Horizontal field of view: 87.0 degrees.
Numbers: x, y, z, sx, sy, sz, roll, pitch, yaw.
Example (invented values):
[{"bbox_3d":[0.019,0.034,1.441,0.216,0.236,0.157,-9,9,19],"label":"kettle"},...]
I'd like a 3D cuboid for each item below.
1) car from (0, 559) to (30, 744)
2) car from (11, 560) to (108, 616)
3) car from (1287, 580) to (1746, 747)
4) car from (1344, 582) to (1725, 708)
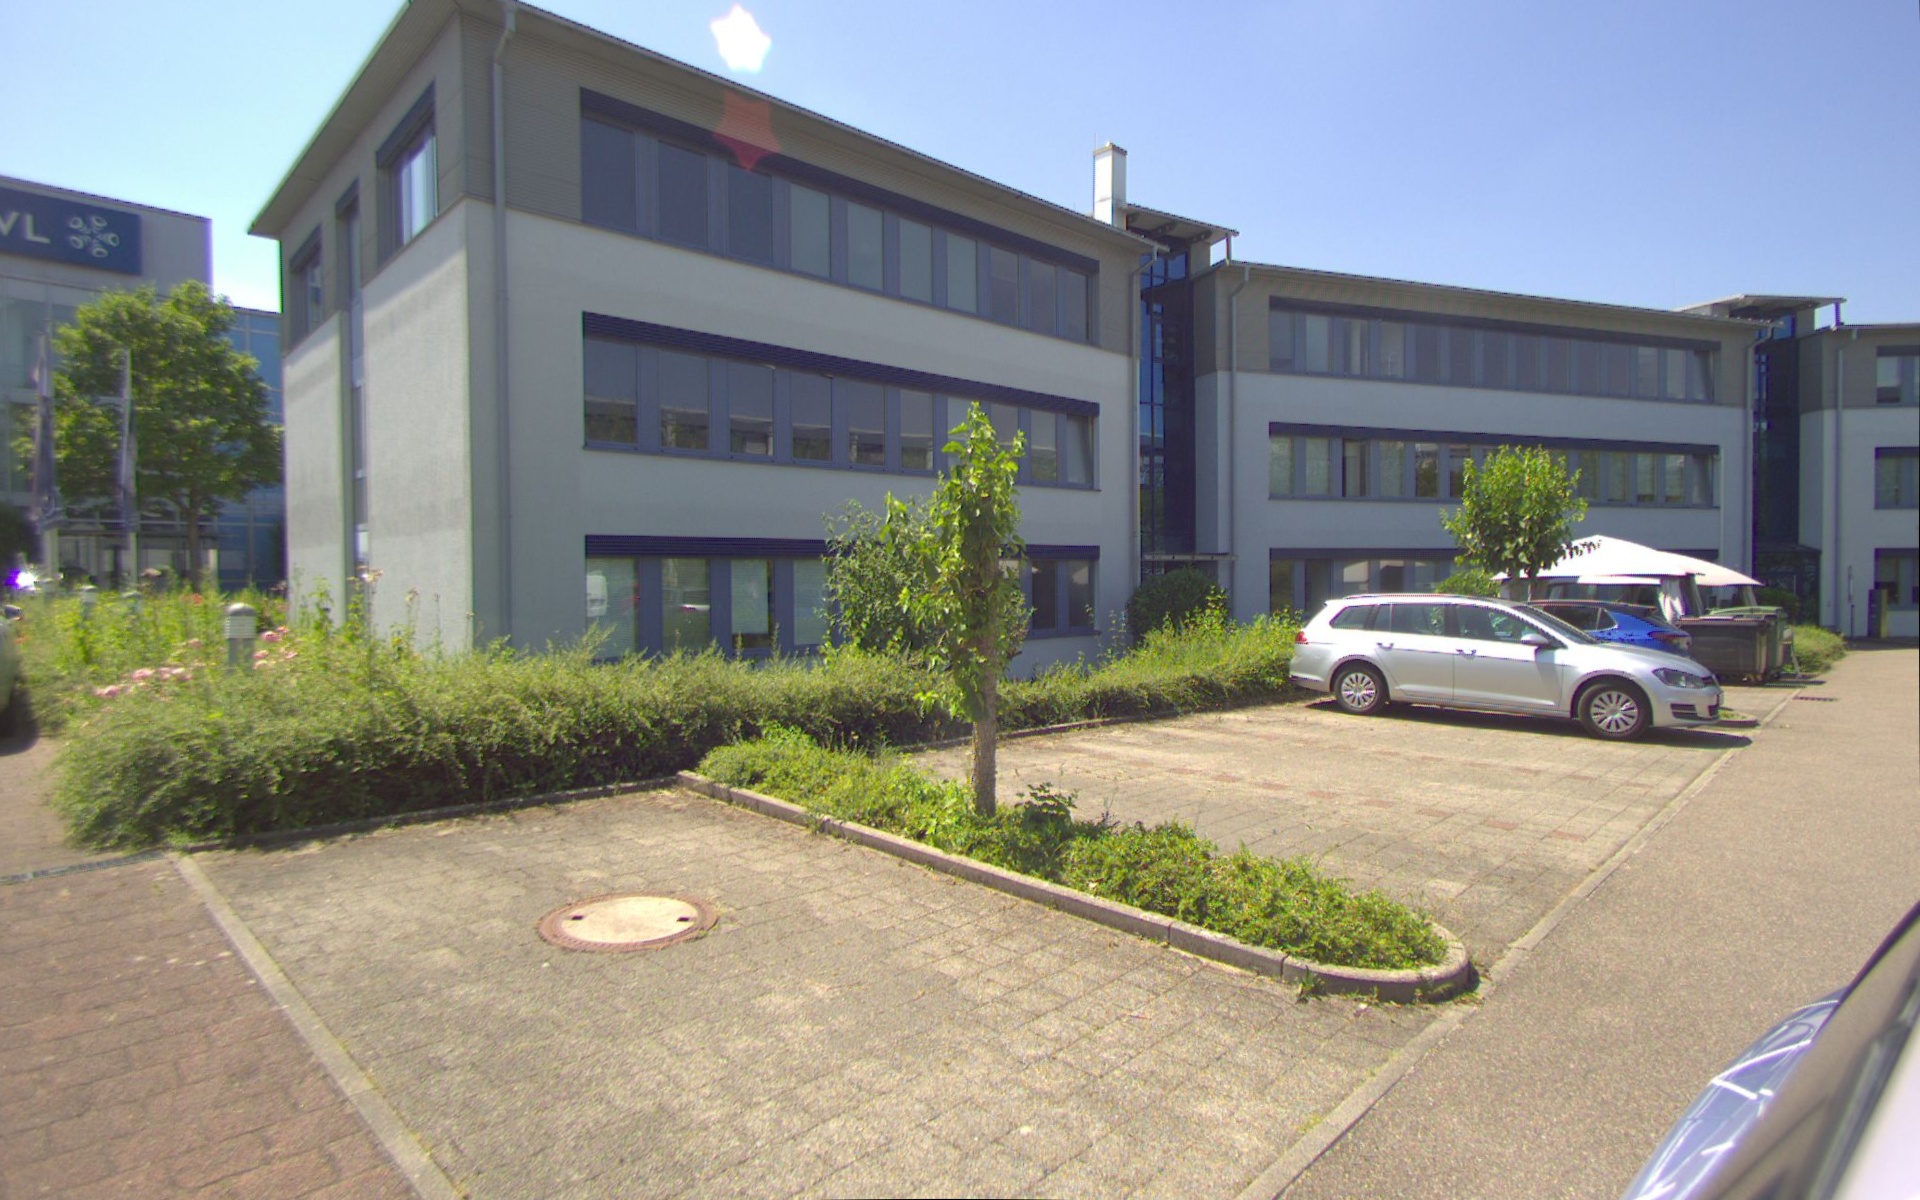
[{"bbox_3d":[-9.339,0.364,8.844,1.775,1.415,4.410,-1,2,-43],"label":"car"},{"bbox_3d":[-26.787,-0.399,30.071,4.243,1.500,1.749,3,3,43],"label":"car"},{"bbox_3d":[6.355,0.575,11.913,4.413,1.538,1.828,2,1,44],"label":"car"},{"bbox_3d":[8.327,0.535,14.968,4.598,1.512,1.828,2,1,44],"label":"car"}]
